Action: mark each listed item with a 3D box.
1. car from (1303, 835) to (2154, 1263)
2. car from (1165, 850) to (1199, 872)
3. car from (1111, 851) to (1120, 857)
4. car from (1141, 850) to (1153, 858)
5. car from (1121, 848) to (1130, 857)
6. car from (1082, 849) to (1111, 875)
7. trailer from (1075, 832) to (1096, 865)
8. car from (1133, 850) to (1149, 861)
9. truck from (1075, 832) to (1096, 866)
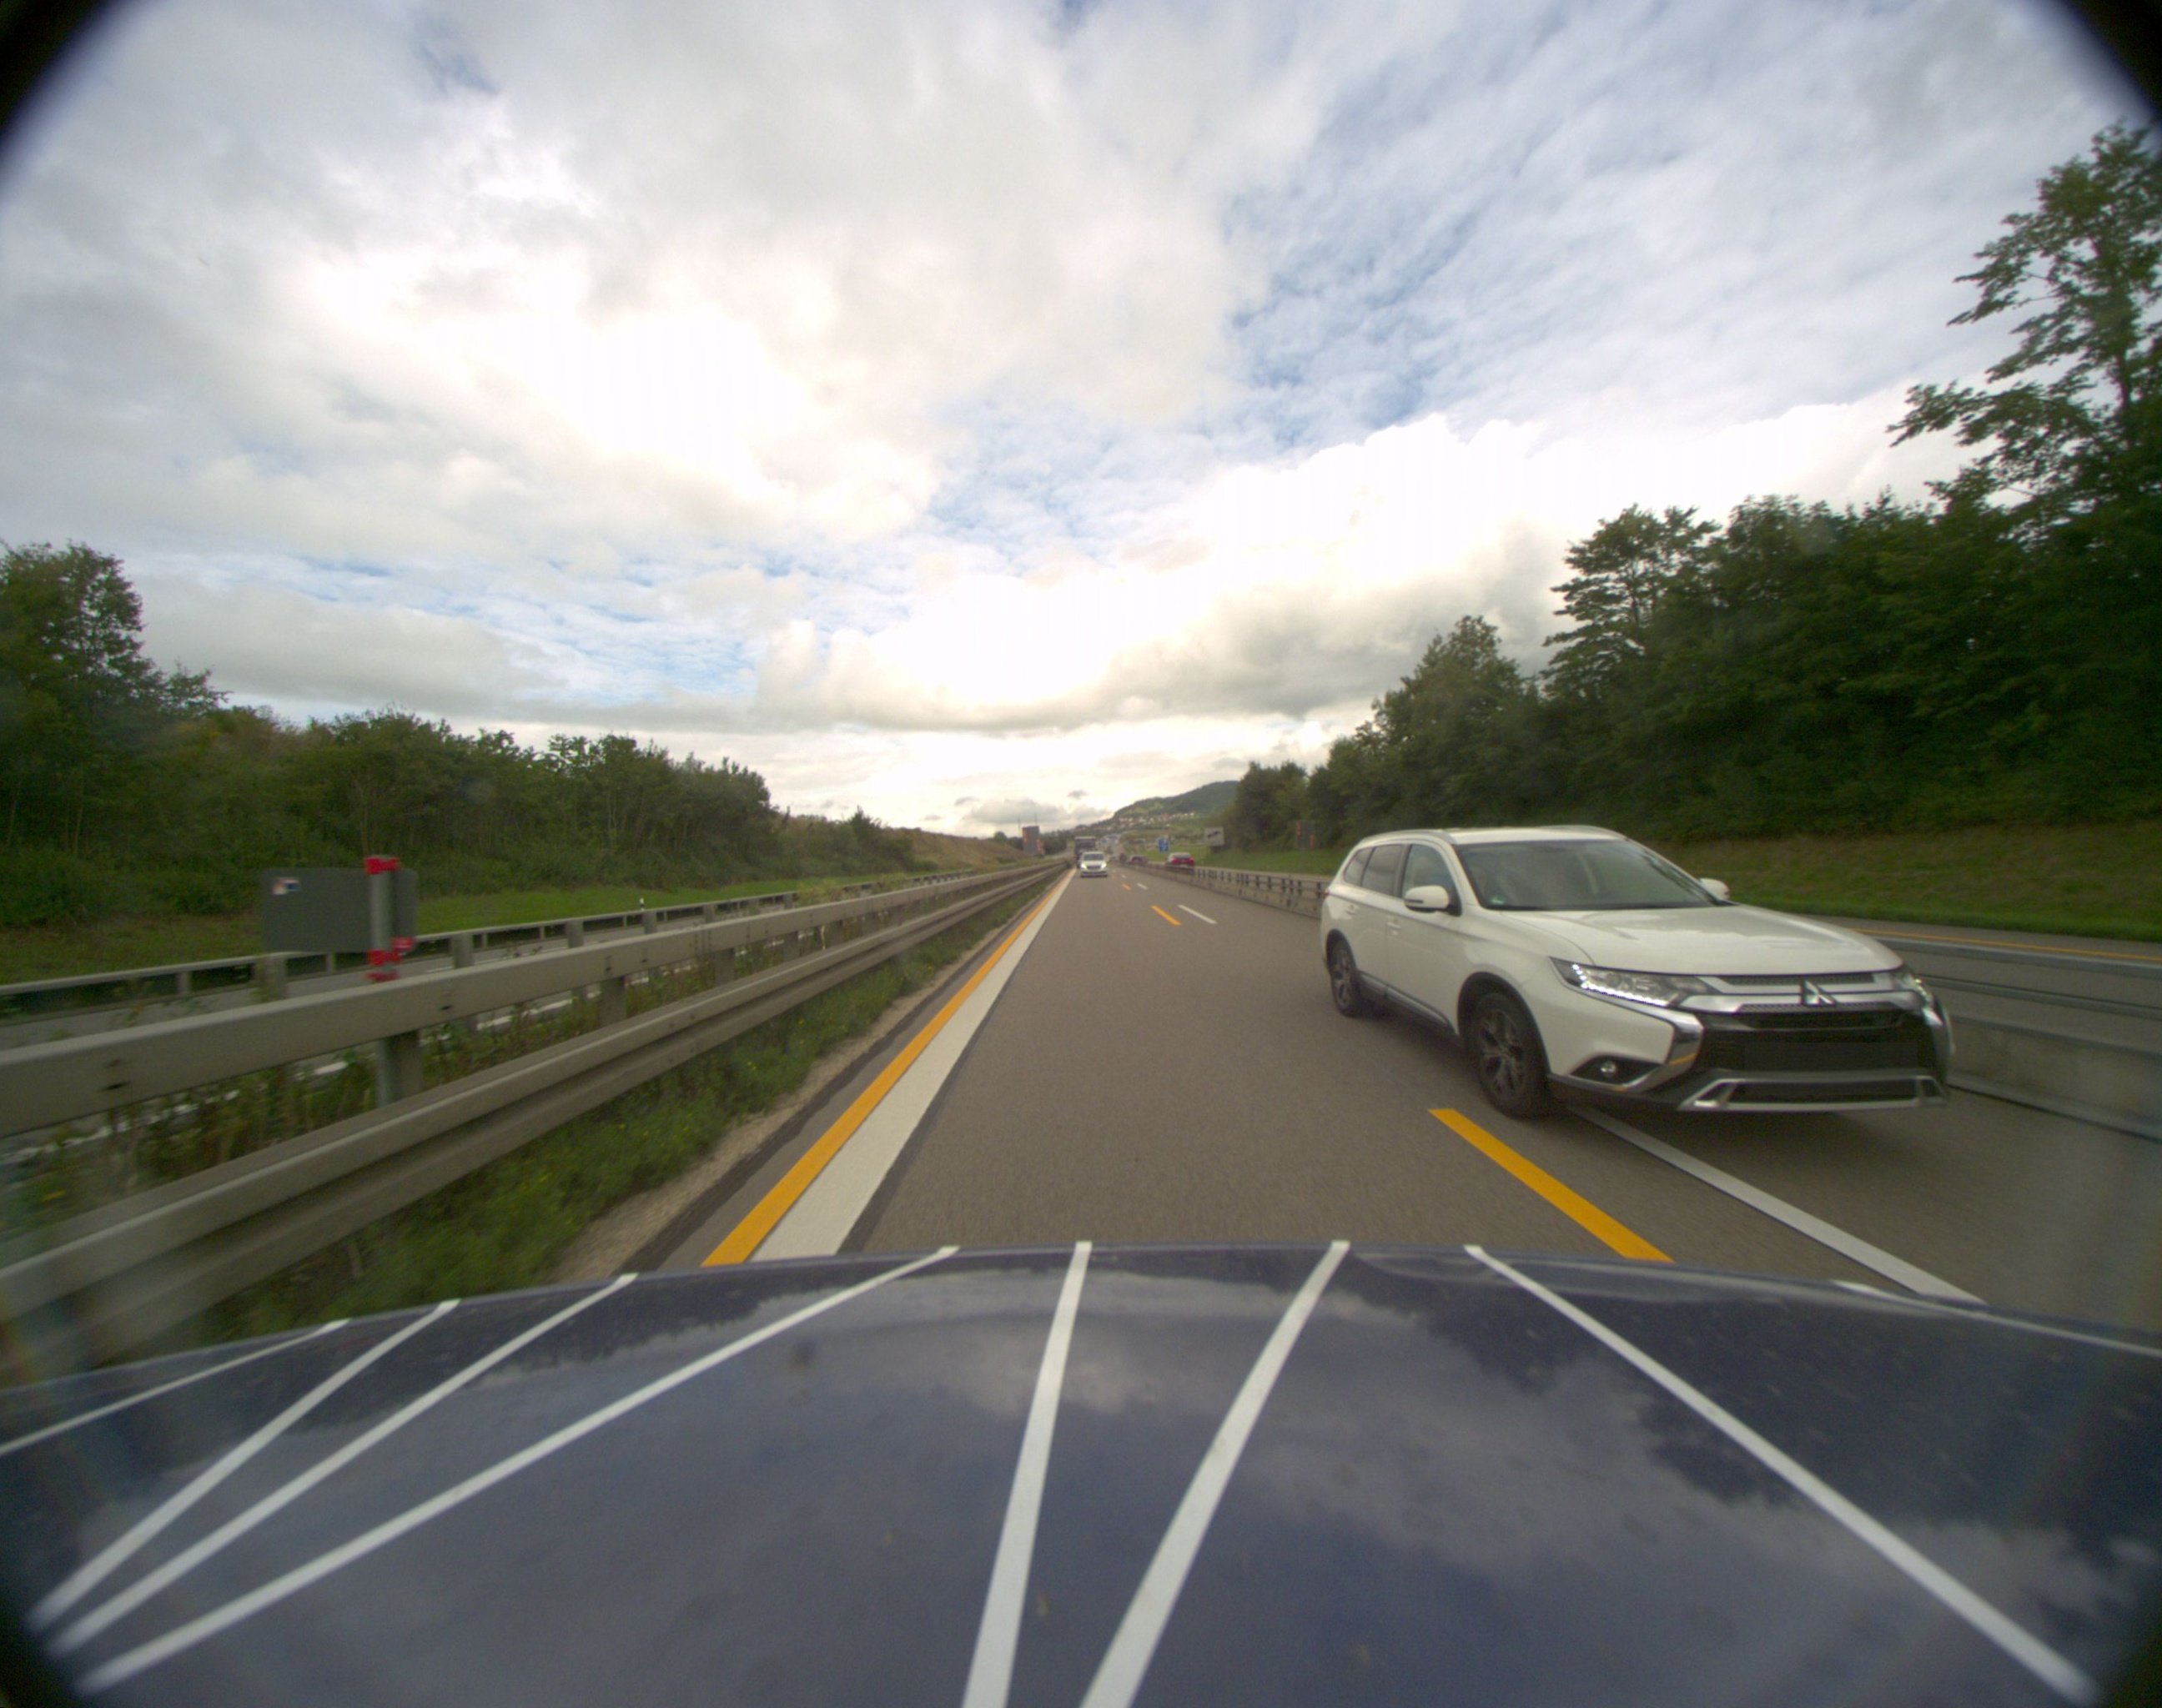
[{"bbox_3d":[3.175,0.757,5.244,1.998,1.618,4.607,-2,0,1],"label":"car"},{"bbox_3d":[7.457,0.512,56.391,1.939,1.482,4.589,-3,0,1],"label":"car"},{"bbox_3d":[8.587,0.010,188.978,1.998,1.512,4.953,-2,0,0],"label":"car"},{"bbox_3d":[11.671,-0.010,134.292,1.673,1.431,3.787,-2,0,1],"label":"car"},{"bbox_3d":[11.973,-0.467,204.226,1.999,2.239,5.049,-2,0,-1],"label":"car"},{"bbox_3d":[1.136,0.528,55.855,1.991,1.787,4.585,-2,0,1],"label":"car"},{"bbox_3d":[0.695,-0.708,102.756,2.521,4.081,11.112,-2,0,1],"label":"trailer"},{"bbox_3d":[8.228,0.182,104.484,2.003,1.490,4.901,-2,0,3],"label":"car"},{"bbox_3d":[0.599,-0.671,97.387,2.521,4.081,5.685,-2,1,1],"label":"truck"}]
